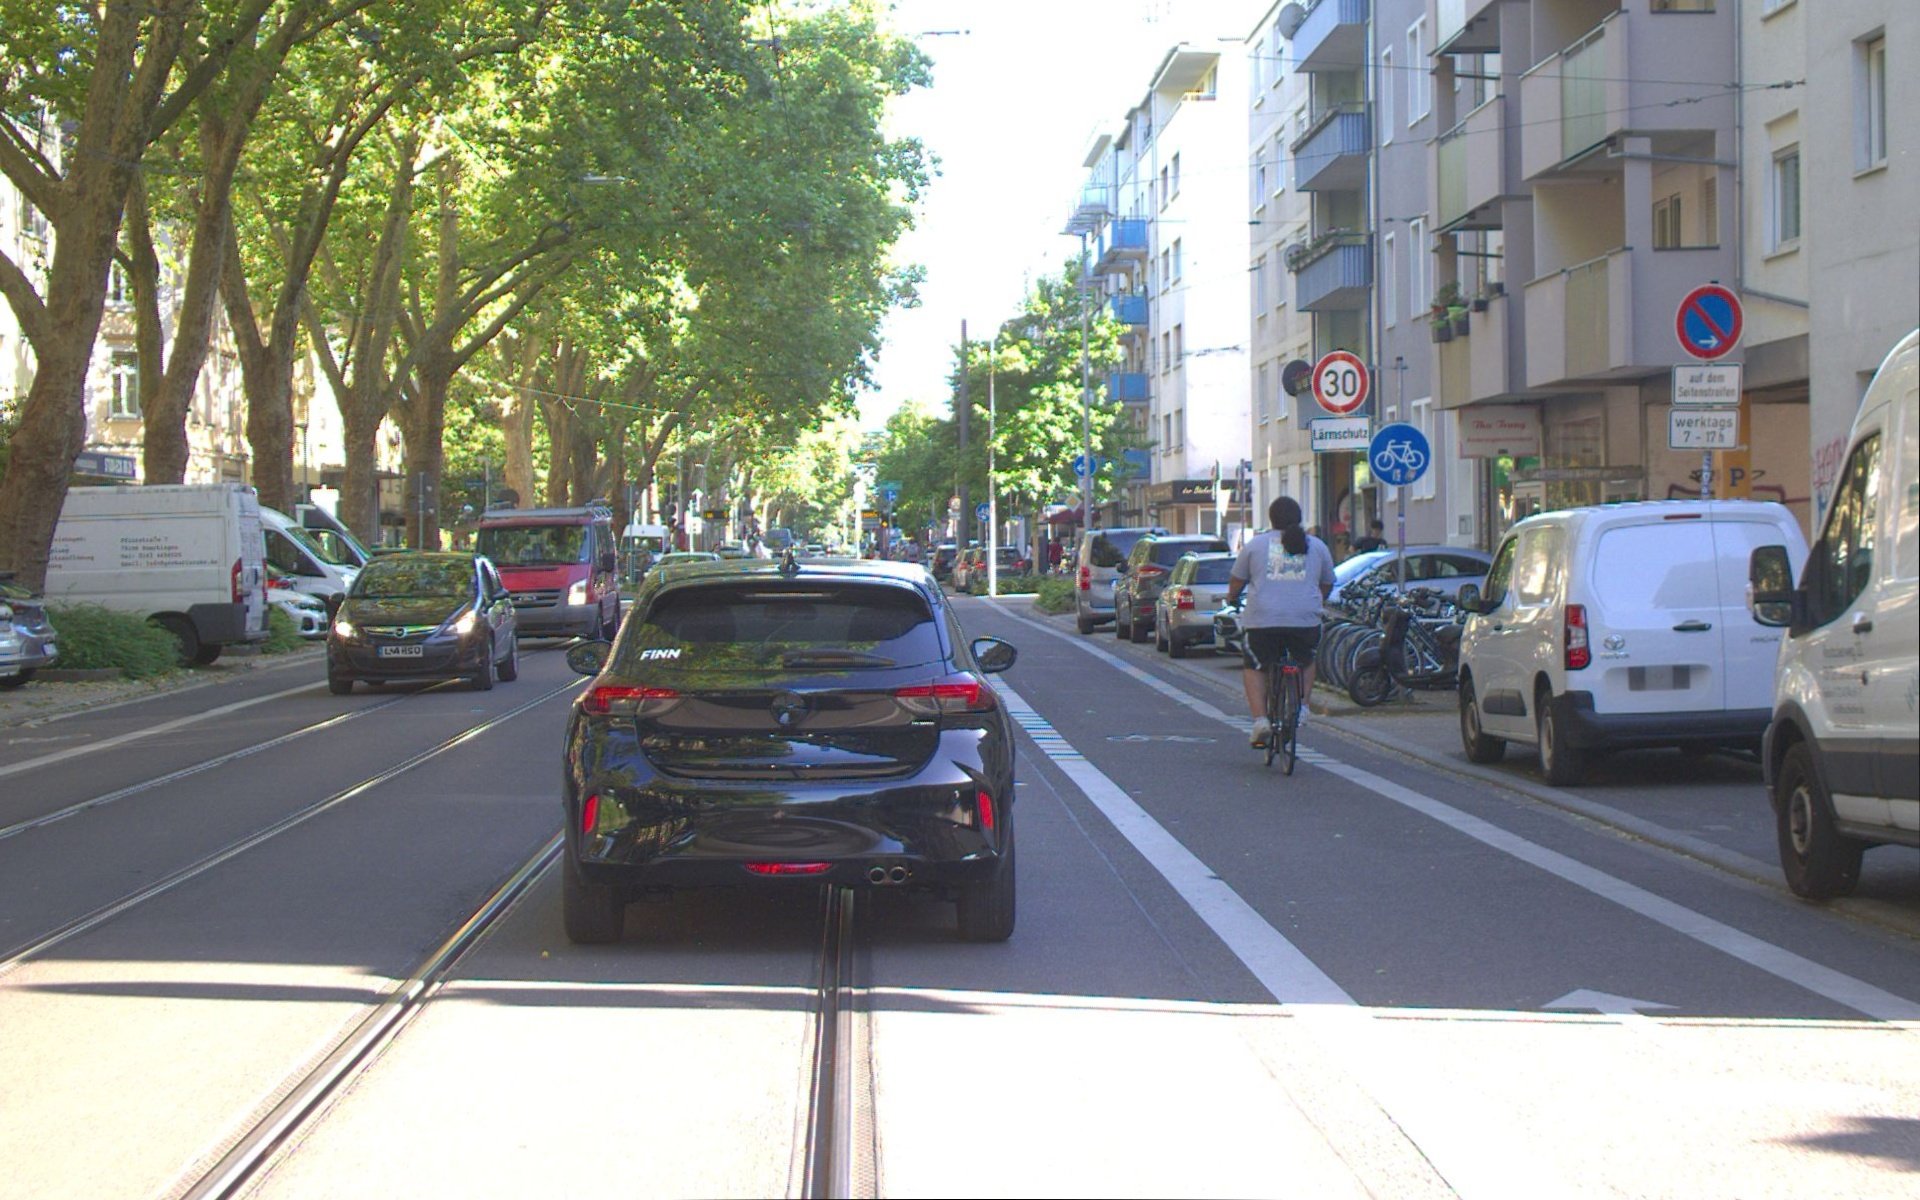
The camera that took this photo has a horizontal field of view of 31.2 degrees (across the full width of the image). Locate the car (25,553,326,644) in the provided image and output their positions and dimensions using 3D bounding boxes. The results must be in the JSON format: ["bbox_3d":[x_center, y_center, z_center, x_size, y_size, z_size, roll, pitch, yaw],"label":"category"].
[{"bbox_3d":[-12.539,-0.039,55.159,4.409,1.380,1.934,-1,1,-2],"label":"car"}]

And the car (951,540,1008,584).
[{"bbox_3d":[0.667,-1.335,118.947,1.718,1.485,3.682,-1,1,-3],"label":"car"}]

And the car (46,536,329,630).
[{"bbox_3d":[-13.042,-0.303,58.219,4.370,1.533,1.872,-1,1,-2],"label":"car"}]

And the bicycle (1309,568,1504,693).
[{"bbox_3d":[4.441,0.296,34.244,1.793,1.144,0.704,-3,1,-1],"label":"bicycle"}]

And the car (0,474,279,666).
[{"bbox_3d":[-12.315,-0.422,46.594,5.740,2.527,2.163,0,1,-1],"label":"car"}]

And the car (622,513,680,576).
[{"bbox_3d":[-13.193,-2.379,146.916,2.092,2.575,5.997,-1,1,-2],"label":"car"}]

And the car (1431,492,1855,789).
[{"bbox_3d":[4.535,0.210,23.476,1.858,1.814,4.351,-1,1,-2],"label":"car"}]

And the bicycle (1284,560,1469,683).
[{"bbox_3d":[4.341,0.221,35.898,1.823,1.187,0.457,-3,1,-1],"label":"bicycle"}]

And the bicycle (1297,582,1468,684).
[{"bbox_3d":[4.350,0.336,35.433,1.652,0.963,0.457,-3,1,-1],"label":"bicycle"}]

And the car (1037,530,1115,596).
[{"bbox_3d":[2.962,-0.966,88.529,1.858,1.646,4.000,-1,1,0],"label":"car"}]

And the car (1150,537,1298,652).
[{"bbox_3d":[3.687,-0.111,48.586,1.724,1.520,4.513,-1,1,0],"label":"car"}]

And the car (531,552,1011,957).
[{"bbox_3d":[-0.730,0.525,13.984,1.679,1.417,3.628,1,1,-2],"label":"car"}]

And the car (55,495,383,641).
[{"bbox_3d":[-13.095,-0.569,61.021,5.360,2.469,2.057,-1,1,-1],"label":"car"}]

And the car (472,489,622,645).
[{"bbox_3d":[-6.200,-0.524,52.104,1.917,2.219,4.961,-1,1,-3],"label":"car"}]

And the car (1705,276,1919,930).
[{"bbox_3d":[4.715,0.003,13.263,2.149,2.487,6.089,-1,1,-2],"label":"car"}]

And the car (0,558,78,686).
[{"bbox_3d":[-12.306,0.253,39.634,3.808,1.427,1.704,-1,1,1],"label":"car"}]

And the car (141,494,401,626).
[{"bbox_3d":[-13.958,-0.823,69.870,4.942,2.559,2.083,-1,1,-4],"label":"car"}]

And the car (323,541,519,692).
[{"bbox_3d":[-5.721,0.136,36.848,1.718,1.504,3.723,-1,1,-4],"label":"car"}]

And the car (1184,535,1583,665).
[{"bbox_3d":[5.338,-0.023,43.531,4.612,1.432,1.865,-2,1,-12],"label":"car"}]

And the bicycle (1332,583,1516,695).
[{"bbox_3d":[4.447,0.370,32.971,1.652,0.983,0.457,-3,1,-1],"label":"bicycle"}]

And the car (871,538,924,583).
[{"bbox_3d":[-2.305,-1.484,127.905,1.858,1.646,4.000,-1,1,0],"label":"car"}]

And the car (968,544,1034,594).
[{"bbox_3d":[1.325,-1.037,113.399,1.718,1.568,4.085,-1,1,-5],"label":"car"}]

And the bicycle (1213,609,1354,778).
[{"bbox_3d":[2.219,0.625,23.780,0.701,1.088,1.990,1,0,-2],"label":"bicycle"}]

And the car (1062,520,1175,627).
[{"bbox_3d":[2.900,-0.523,63.758,1.858,1.883,4.925,-1,1,0],"label":"car"}]

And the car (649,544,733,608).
[{"bbox_3d":[-5.881,-0.548,75.533,1.718,1.354,4.470,-1,1,-3],"label":"car"}]

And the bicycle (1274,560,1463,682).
[{"bbox_3d":[4.314,0.216,36.377,1.892,1.187,0.457,-3,1,-1],"label":"bicycle"}]

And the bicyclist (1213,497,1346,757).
[{"bbox_3d":[2.195,0.175,23.701,0.786,1.753,0.915,-1,1,-2],"label":"bicyclist"}]

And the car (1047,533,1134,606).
[{"bbox_3d":[3.036,-0.727,80.580,1.858,1.646,4.000,-1,1,0],"label":"car"}]

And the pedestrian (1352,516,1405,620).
[{"bbox_3d":[7.041,-0.543,57.841,0.756,1.714,0.720,-1,1,-3],"label":"pedestrian"}]

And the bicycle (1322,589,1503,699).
[{"bbox_3d":[4.410,0.422,33.533,1.652,0.983,0.457,-3,1,-1],"label":"bicycle"}]

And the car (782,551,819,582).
[{"bbox_3d":[-8.555,-1.813,184.872,1.750,1.646,4.000,-1,1,0],"label":"car"}]

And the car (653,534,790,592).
[{"bbox_3d":[-7.066,-1.100,102.124,3.986,1.646,1.865,-1,1,-1],"label":"car"}]

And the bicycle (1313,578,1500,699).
[{"bbox_3d":[4.205,0.360,32.426,1.652,1.051,0.457,-3,1,-1],"label":"bicycle"}]

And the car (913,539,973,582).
[{"bbox_3d":[-0.697,-1.590,137.538,1.993,1.634,4.001,-1,1,-6],"label":"car"}]

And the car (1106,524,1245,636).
[{"bbox_3d":[3.417,-0.342,55.145,1.766,1.699,4.283,-1,1,-2],"label":"car"}]

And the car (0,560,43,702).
[{"bbox_3d":[-12.178,0.345,37.239,3.987,1.491,1.830,-1,1,-1],"label":"car"}]

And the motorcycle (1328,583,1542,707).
[{"bbox_3d":[4.351,0.414,31.535,1.820,1.076,0.617,-1,1,22],"label":"motorcycle"}]

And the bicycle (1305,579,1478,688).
[{"bbox_3d":[4.384,0.340,34.941,1.652,1.017,0.457,-3,1,-1],"label":"bicycle"}]

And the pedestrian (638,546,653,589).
[{"bbox_3d":[-11.800,-1.225,129.127,0.506,1.577,0.527,-1,1,-2],"label":"pedestrian"}]
